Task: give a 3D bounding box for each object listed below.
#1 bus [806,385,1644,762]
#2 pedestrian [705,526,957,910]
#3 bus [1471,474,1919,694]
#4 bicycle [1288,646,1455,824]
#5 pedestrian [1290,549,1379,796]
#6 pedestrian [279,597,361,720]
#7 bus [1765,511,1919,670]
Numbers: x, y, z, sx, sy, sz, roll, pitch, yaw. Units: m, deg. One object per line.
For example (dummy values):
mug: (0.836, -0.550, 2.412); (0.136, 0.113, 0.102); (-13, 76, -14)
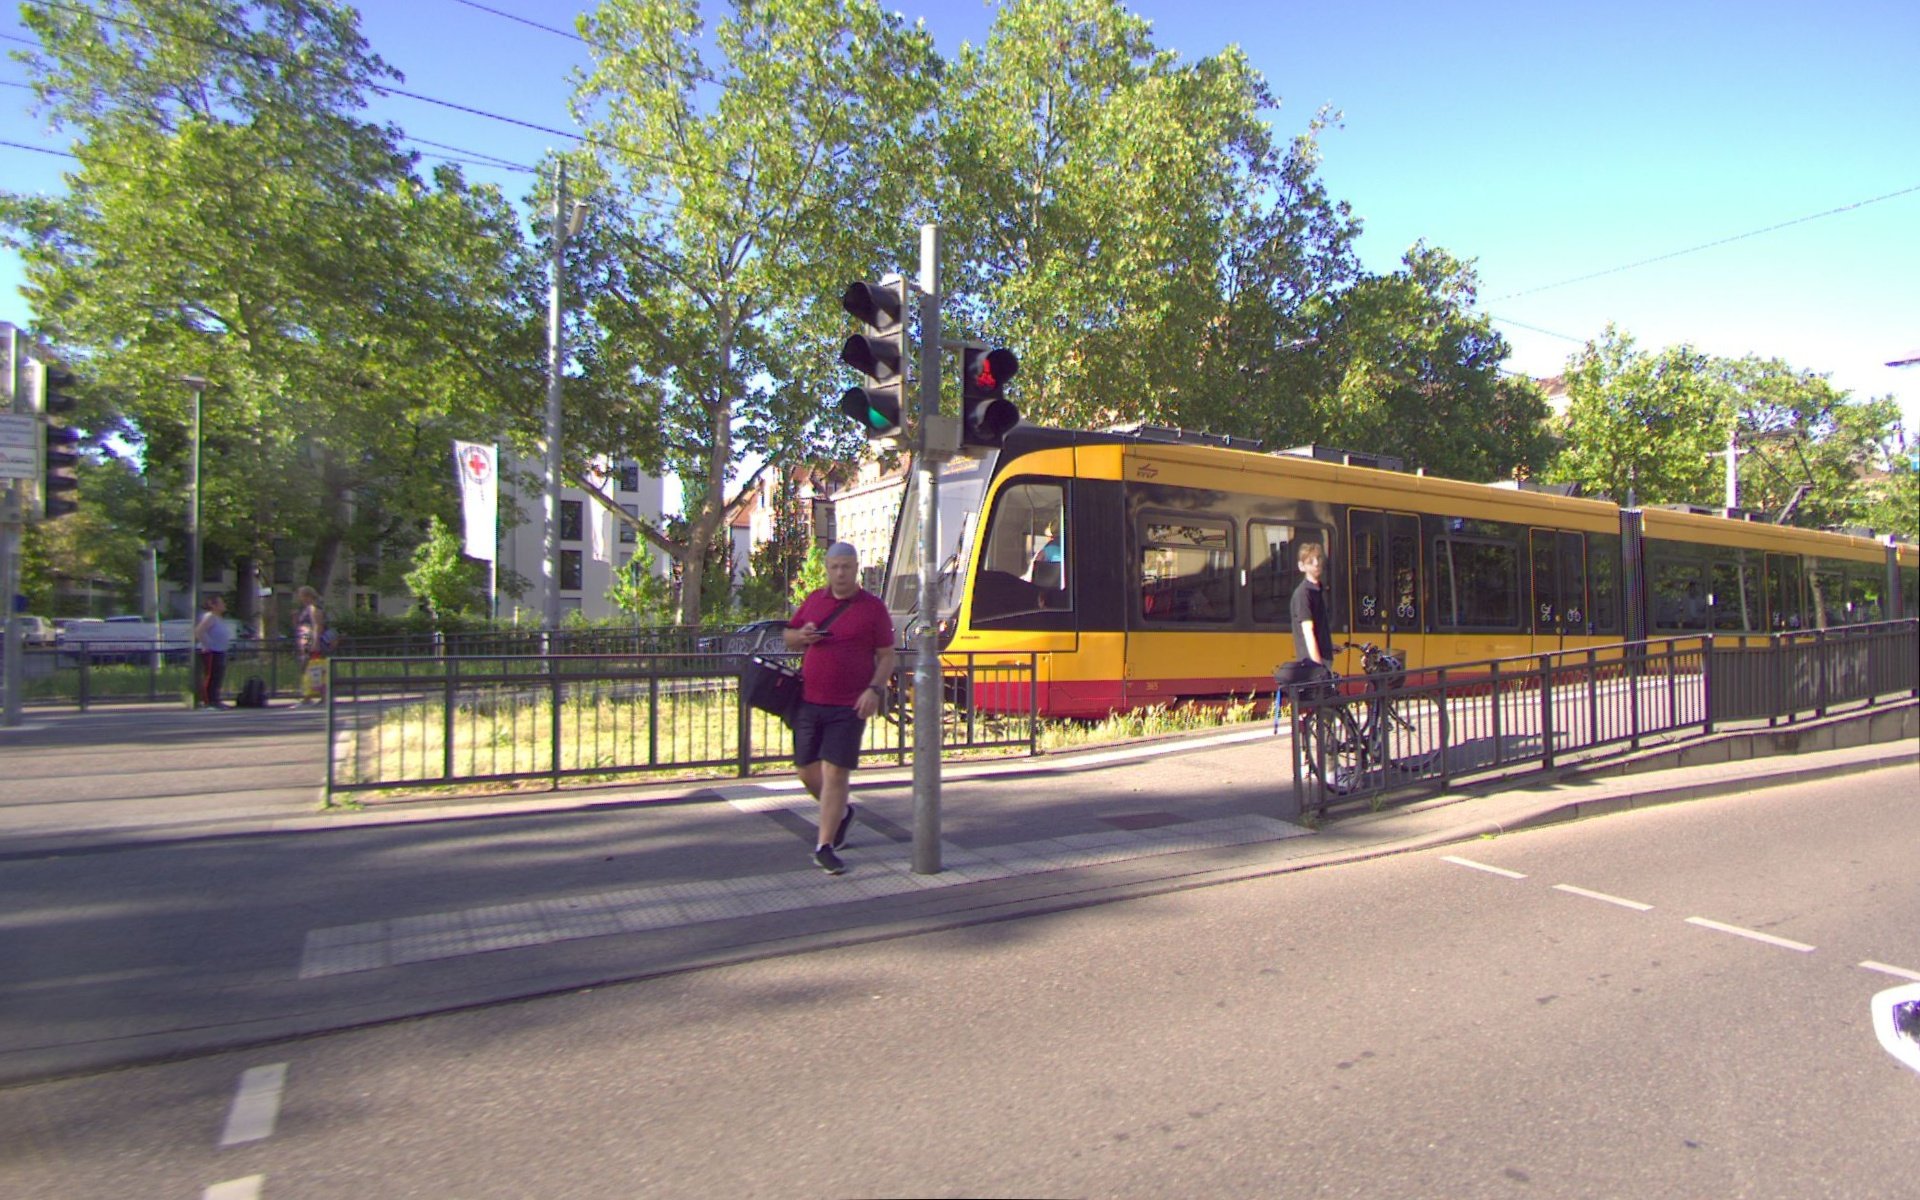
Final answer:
bus: (4.519, -0.168, 13.852); (13.061, 3.490, 2.855); (1, -1, -30)
pedestrian: (-0.768, 0.608, 5.834); (1.114, 1.941, 1.066); (0, -1, -32)
bus: (15.281, -0.181, 20.251); (12.071, 3.490, 2.855); (1, -1, -30)
bicycle: (3.246, 0.996, 7.840); (1.811, 1.230, 0.326); (1, -1, -37)
pedestrian: (3.056, 0.569, 8.208); (0.579, 1.928, 0.447); (0, -1, -38)
pedestrian: (-9.092, 0.802, 14.260); (0.884, 1.665, 1.168); (1, -1, -37)
bus: (25.317, -0.129, 26.209); (11.474, 3.490, 2.855); (1, -1, -30)
